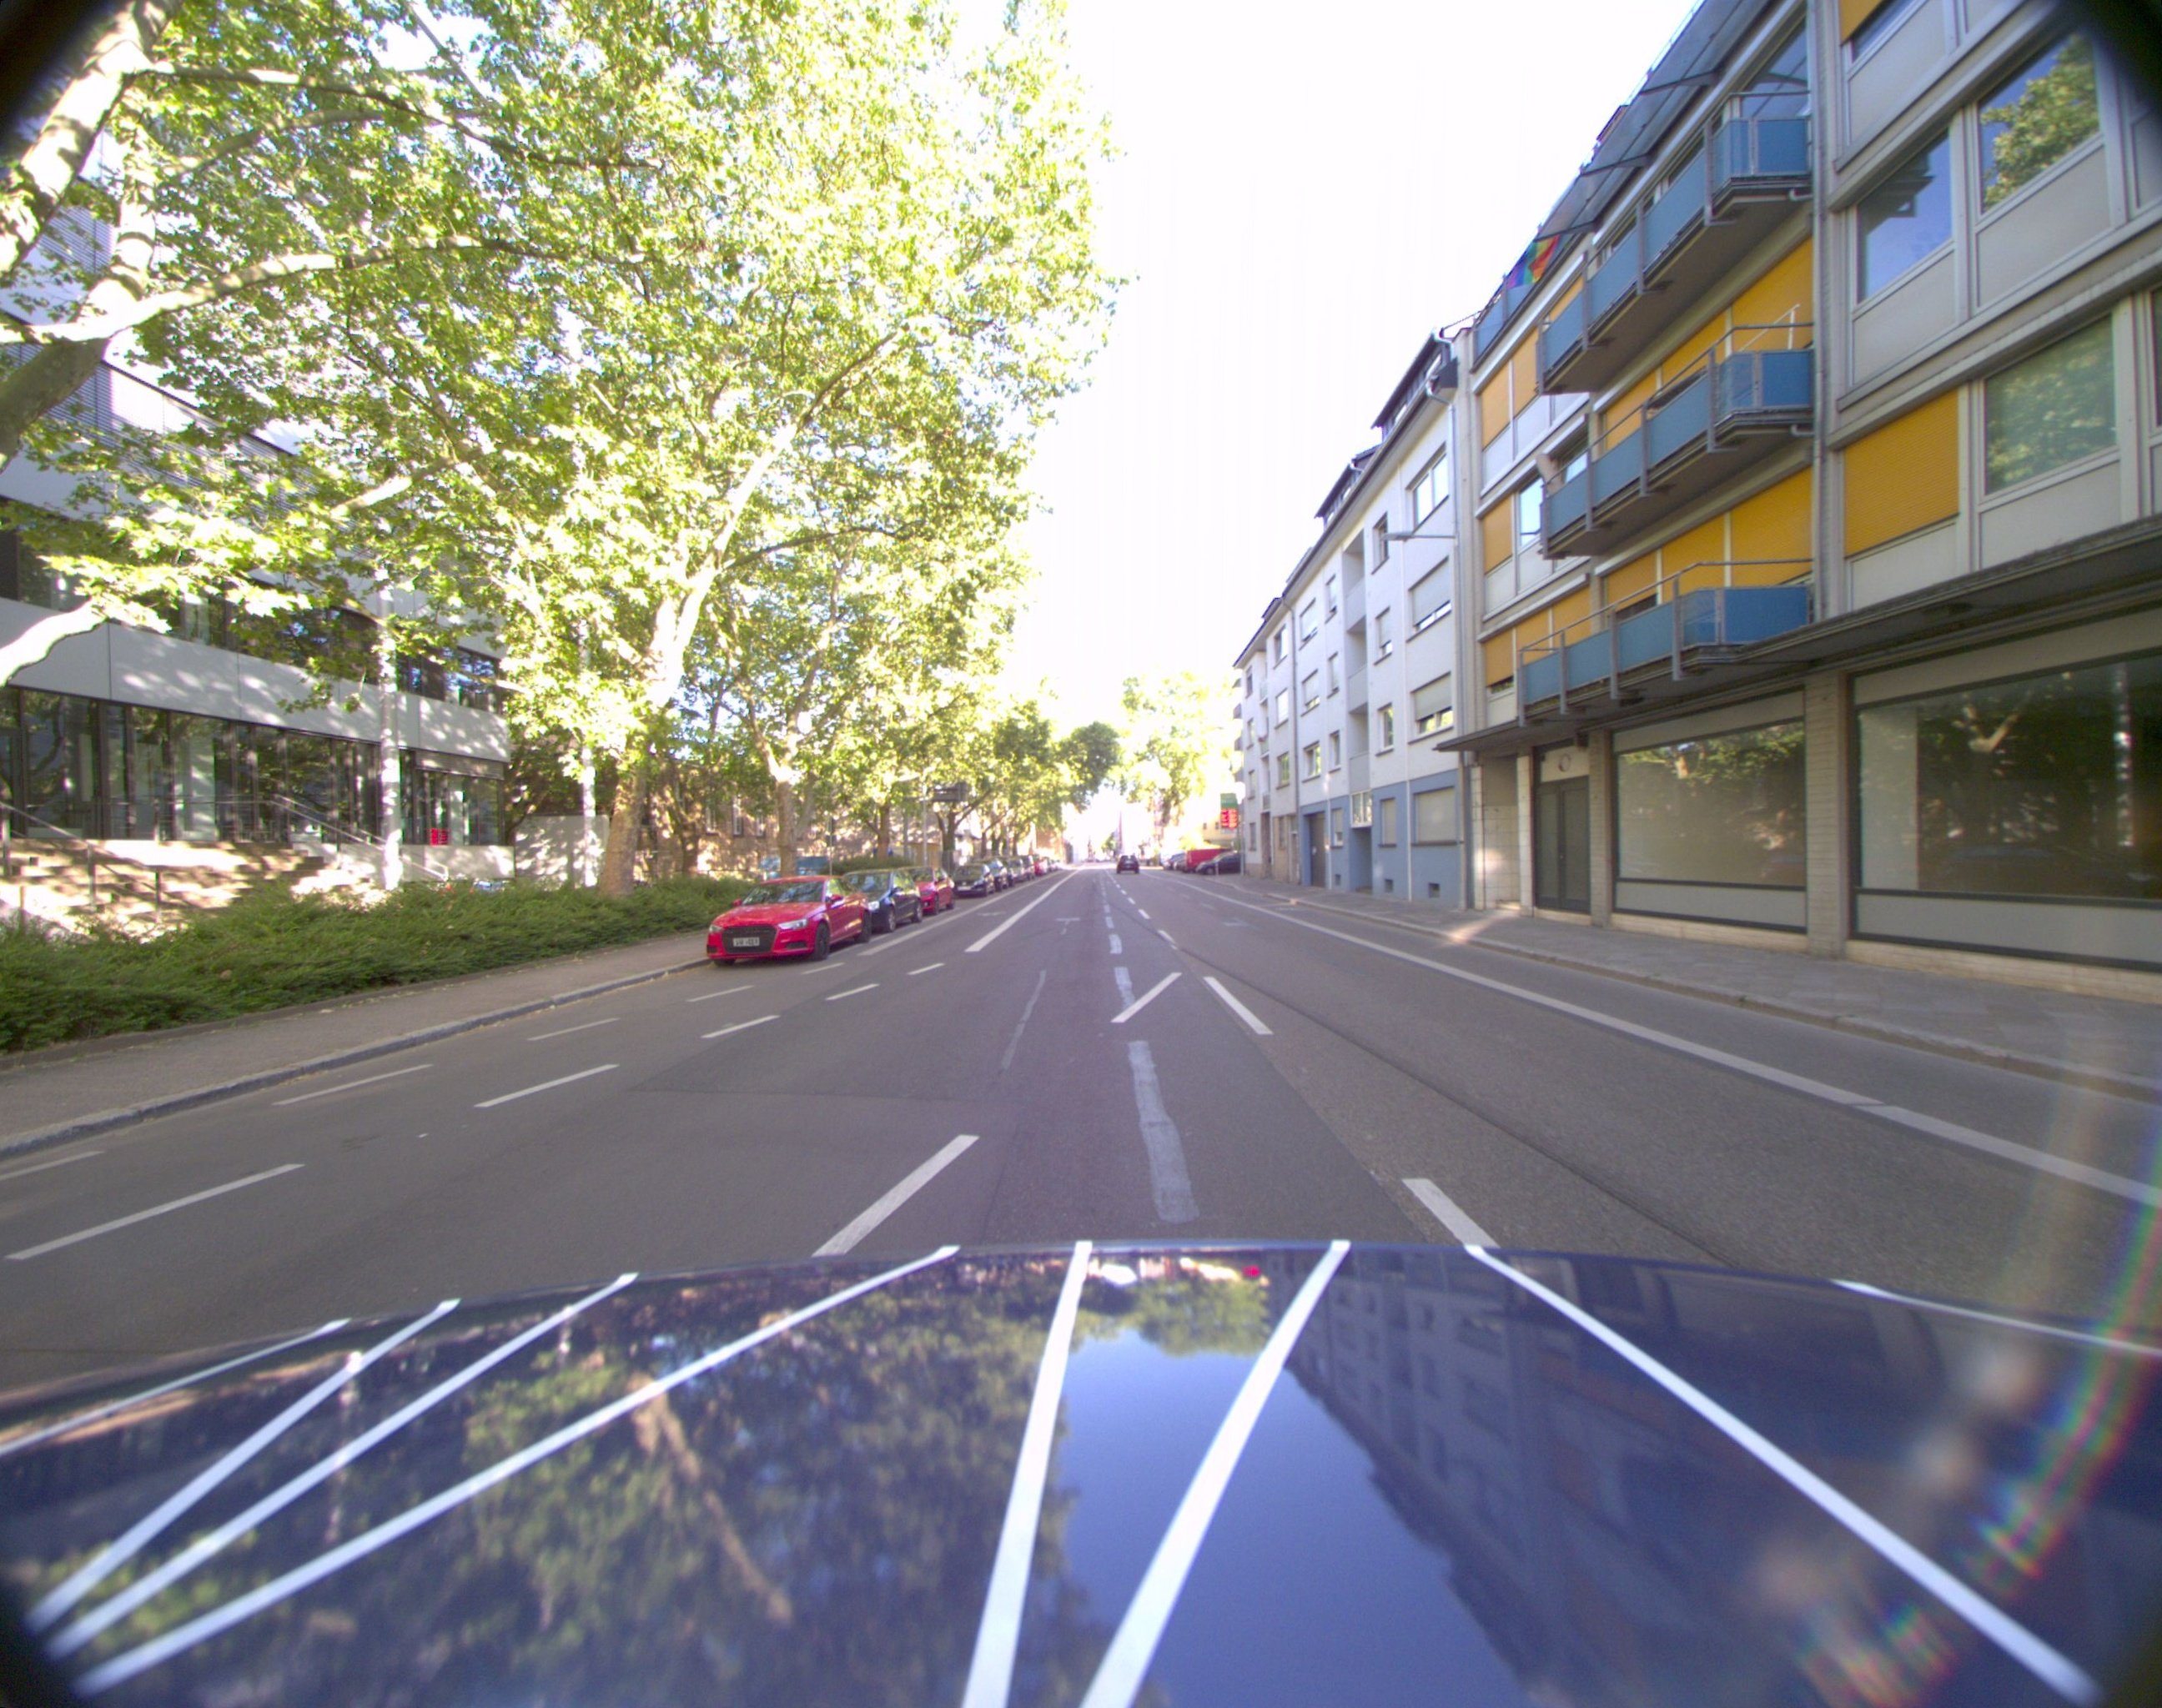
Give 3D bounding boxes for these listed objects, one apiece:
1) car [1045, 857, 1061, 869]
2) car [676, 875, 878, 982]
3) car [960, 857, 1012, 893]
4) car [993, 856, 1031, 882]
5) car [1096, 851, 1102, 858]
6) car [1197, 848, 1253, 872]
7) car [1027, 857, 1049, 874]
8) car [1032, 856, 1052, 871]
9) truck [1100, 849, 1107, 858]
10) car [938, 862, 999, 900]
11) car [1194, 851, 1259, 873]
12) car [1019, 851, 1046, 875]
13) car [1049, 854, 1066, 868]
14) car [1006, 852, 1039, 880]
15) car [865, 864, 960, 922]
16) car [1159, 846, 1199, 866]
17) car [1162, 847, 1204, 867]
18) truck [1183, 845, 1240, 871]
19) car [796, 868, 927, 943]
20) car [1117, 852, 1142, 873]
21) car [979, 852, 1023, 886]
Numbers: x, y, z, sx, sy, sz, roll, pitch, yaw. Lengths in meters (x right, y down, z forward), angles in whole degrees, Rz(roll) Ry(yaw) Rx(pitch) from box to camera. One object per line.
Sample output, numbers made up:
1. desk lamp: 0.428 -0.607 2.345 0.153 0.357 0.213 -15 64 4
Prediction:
1. car: -3.345 1.066 92.733 1.693 1.364 3.999 -2 1 1
2. car: -5.185 1.194 13.633 1.907 1.417 3.999 -2 1 1
3. car: -4.682 1.003 38.115 1.998 1.592 4.142 -2 1 1
4. car: -4.564 0.962 50.864 1.998 1.557 4.142 -2 1 1
5. car: 6.164 0.182 259.450 1.998 2.002 3.999 -2 1 1
6. car: 10.803 0.444 57.111 3.810 1.563 1.658 -2 1 0
7. car: -4.035 1.078 71.993 1.824 1.466 3.999 -2 1 1
8. car: -4.136 0.984 80.745 1.824 1.466 3.999 -2 1 1
9. truck: 6.876 -0.304 233.819 1.998 2.653 5.314 -2 1 0
10. car: -4.836 1.128 33.175 1.998 1.447 3.589 -2 1 1
11. car: 10.458 0.565 54.779 4.324 1.398 1.658 -2 1 0
12. car: -4.222 0.737 66.327 1.998 1.960 3.999 -2 1 1
13. car: -3.184 0.903 103.004 1.998 1.682 3.999 -2 1 1
14. car: -4.253 0.841 55.632 1.998 1.838 3.999 -2 1 1
15. car: -5.126 1.146 23.664 1.998 1.490 3.828 -2 1 1
16. car: 10.951 0.210 85.309 4.236 2.025 2.000 -2 1 3
17. car: 10.865 0.276 80.909 4.236 1.945 2.000 -2 1 3
18. truck: 10.289 0.313 60.212 4.092 1.913 2.000 -2 1 0
19. car: -5.169 1.165 18.435 1.998 1.452 3.644 -2 1 1
20. car: 4.046 0.654 63.859 1.847 1.668 3.999 0 1 1
21. car: -4.606 0.835 44.512 1.998 1.777 4.572 -2 1 1
